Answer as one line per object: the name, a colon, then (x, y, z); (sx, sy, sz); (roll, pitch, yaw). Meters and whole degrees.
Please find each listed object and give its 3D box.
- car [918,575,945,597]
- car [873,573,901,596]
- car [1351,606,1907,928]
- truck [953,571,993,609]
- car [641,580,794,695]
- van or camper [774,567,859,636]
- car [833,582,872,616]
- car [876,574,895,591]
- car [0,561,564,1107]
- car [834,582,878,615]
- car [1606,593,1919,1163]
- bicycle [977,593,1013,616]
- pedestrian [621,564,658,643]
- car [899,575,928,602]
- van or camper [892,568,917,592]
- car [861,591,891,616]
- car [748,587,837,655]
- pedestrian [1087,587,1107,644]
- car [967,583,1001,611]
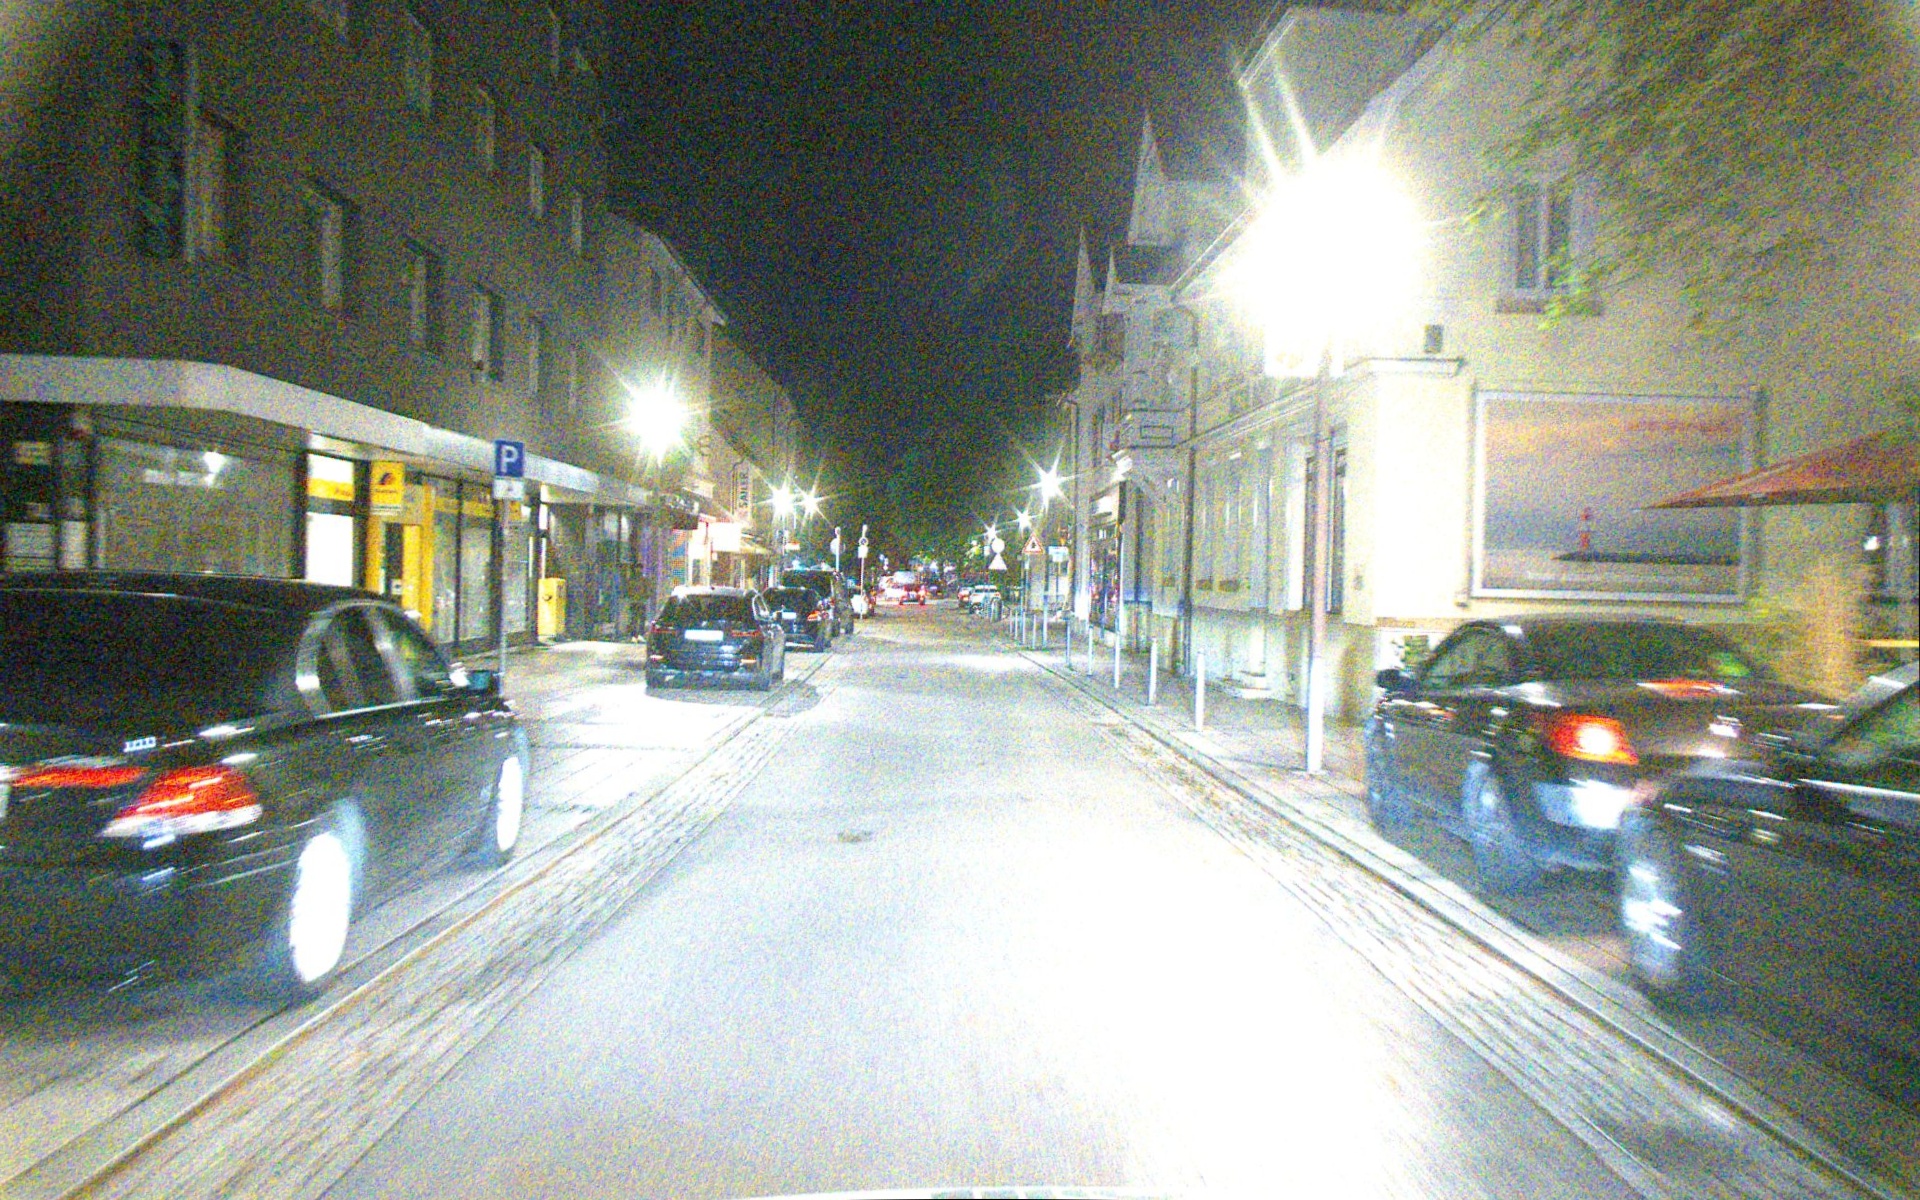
car: (-2.483, -1.244, 142.383); (1.781, 1.860, 4.340); (1, 1, -8)
car: (-5.908, -1.262, 133.852); (1.955, 1.732, 3.995); (1, 1, -7)
car: (3.508, 0.761, 9.530); (1.626, 1.401, 4.105); (-1, 0, 2)
truck: (0.802, -0.659, 107.013); (2.289, 2.352, 5.778); (0, 1, -2)
car: (-3.575, 0.509, 25.081); (1.761, 1.503, 4.319); (3, 0, -2)
van or camper: (-4.412, 0.010, 51.450); (1.807, 1.975, 5.156); (2, 0, 4)
car: (-5.014, -0.074, 77.607); (1.694, 1.502, 3.845); (2, 1, -3)
car: (-8.432, -2.007, 186.910); (1.804, 1.934, 3.840); (1, 1, -7)
car: (-3.079, 0.626, 6.929); (1.808, 1.489, 4.621); (3, 0, -2)
car: (-5.210, -0.102, 83.272); (1.979, 1.513, 5.006); (4, 1, -2)
car: (3.388, 0.732, 4.362); (1.717, 1.489, 4.468); (-1, 0, 2)
bicycle: (1.706, 0.228, 79.915); (1.720, 1.080, 0.346); (1, 0, -5)
pedestrian: (-7.410, 0.072, 38.274); (0.608, 1.776, 1.022); (2, 0, -1)
car: (-3.375, -0.831, 118.777); (1.954, 1.855, 3.998); (1, 1, -3)
van or camper: (-5.654, -2.030, 168.455); (2.069, 2.357, 4.254); (0, 1, -8)
car: (-5.644, 0.235, 111.137); (1.642, 1.570, 4.224); (2, 1, -7)
car: (-3.920, 0.452, 39.244); (1.682, 1.437, 4.385); (3, 0, -1)
pedestrian: (3.845, 0.421, 46.411); (0.490, 1.574, 0.480); (2, 0, 5)
car: (1.314, -0.198, 91.484); (1.753, 1.517, 4.058); (0, 1, -1)
